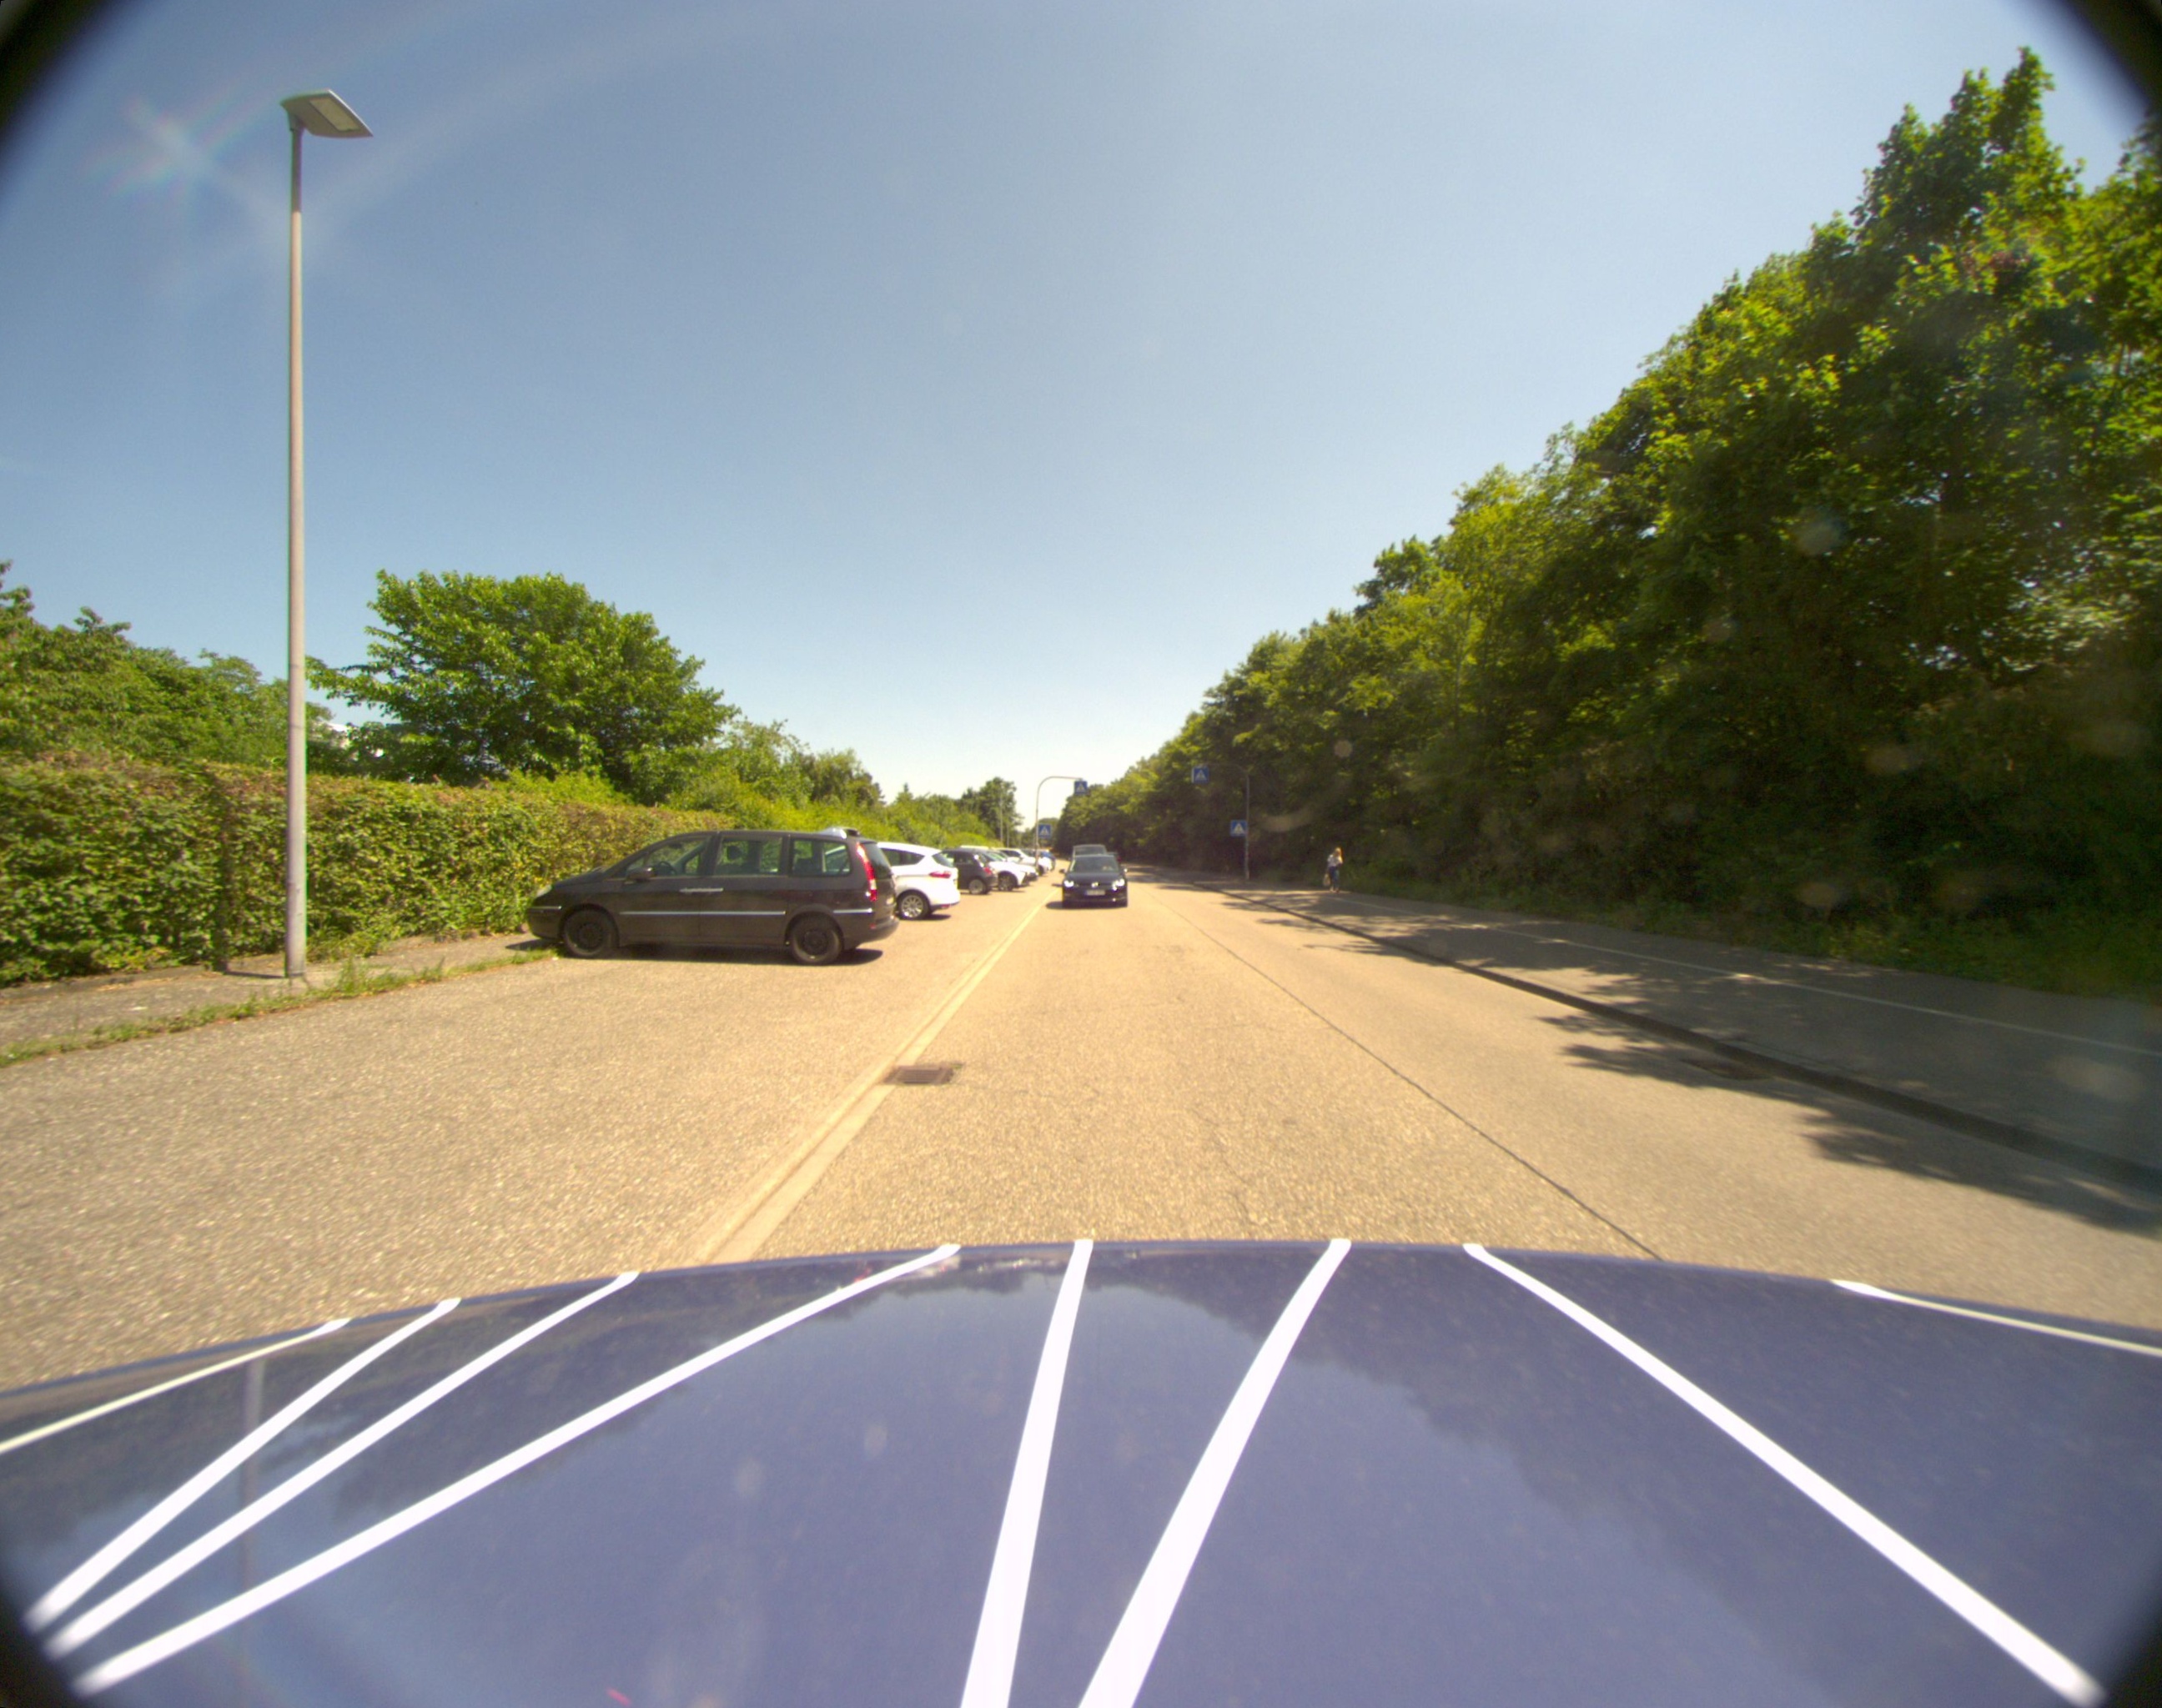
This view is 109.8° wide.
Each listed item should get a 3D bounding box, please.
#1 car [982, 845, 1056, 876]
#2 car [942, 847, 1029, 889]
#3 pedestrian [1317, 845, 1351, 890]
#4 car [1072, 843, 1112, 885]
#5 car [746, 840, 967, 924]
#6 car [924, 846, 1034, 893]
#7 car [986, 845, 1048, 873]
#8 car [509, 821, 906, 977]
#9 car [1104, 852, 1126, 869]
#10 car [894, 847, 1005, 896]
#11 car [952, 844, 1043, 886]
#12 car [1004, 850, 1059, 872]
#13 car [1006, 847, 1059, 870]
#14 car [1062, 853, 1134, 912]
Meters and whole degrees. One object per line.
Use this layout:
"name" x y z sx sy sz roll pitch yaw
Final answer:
"car" -3.900 0.389 48.093 4.464 1.720 1.850 2 1 1
"car" -3.976 0.558 31.978 3.462 1.518 1.539 4 0 -5
"pedestrian" 9.149 0.467 27.530 0.934 1.603 0.885 -1 1 -1
"car" 0.475 0.450 37.502 1.743 1.905 4.387 -1 0 -2
"car" -4.783 0.589 16.658 4.287 1.569 1.765 2 0 -2
"car" -3.863 0.586 29.163 3.974 1.514 1.863 4 0 -5
"car" -4.231 0.321 50.799 3.983 1.676 1.766 2 1 -1
"car" -4.871 0.572 10.505 4.465 1.794 1.951 2 1 -4
"car" 3.468 0.606 77.457 1.896 1.523 4.196 4 0 -1
"car" -4.460 0.578 26.047 3.395 1.495 1.588 2 0 4
"car" -3.792 0.487 34.959 3.971 1.631 1.663 4 0 -4
"car" -3.754 0.525 57.677 4.037 1.401 1.679 3 1 -2
"car" -3.839 0.329 60.584 4.036 1.632 1.673 3 1 -1
"car" 0.365 0.708 20.943 1.743 1.396 4.387 -1 0 -2
